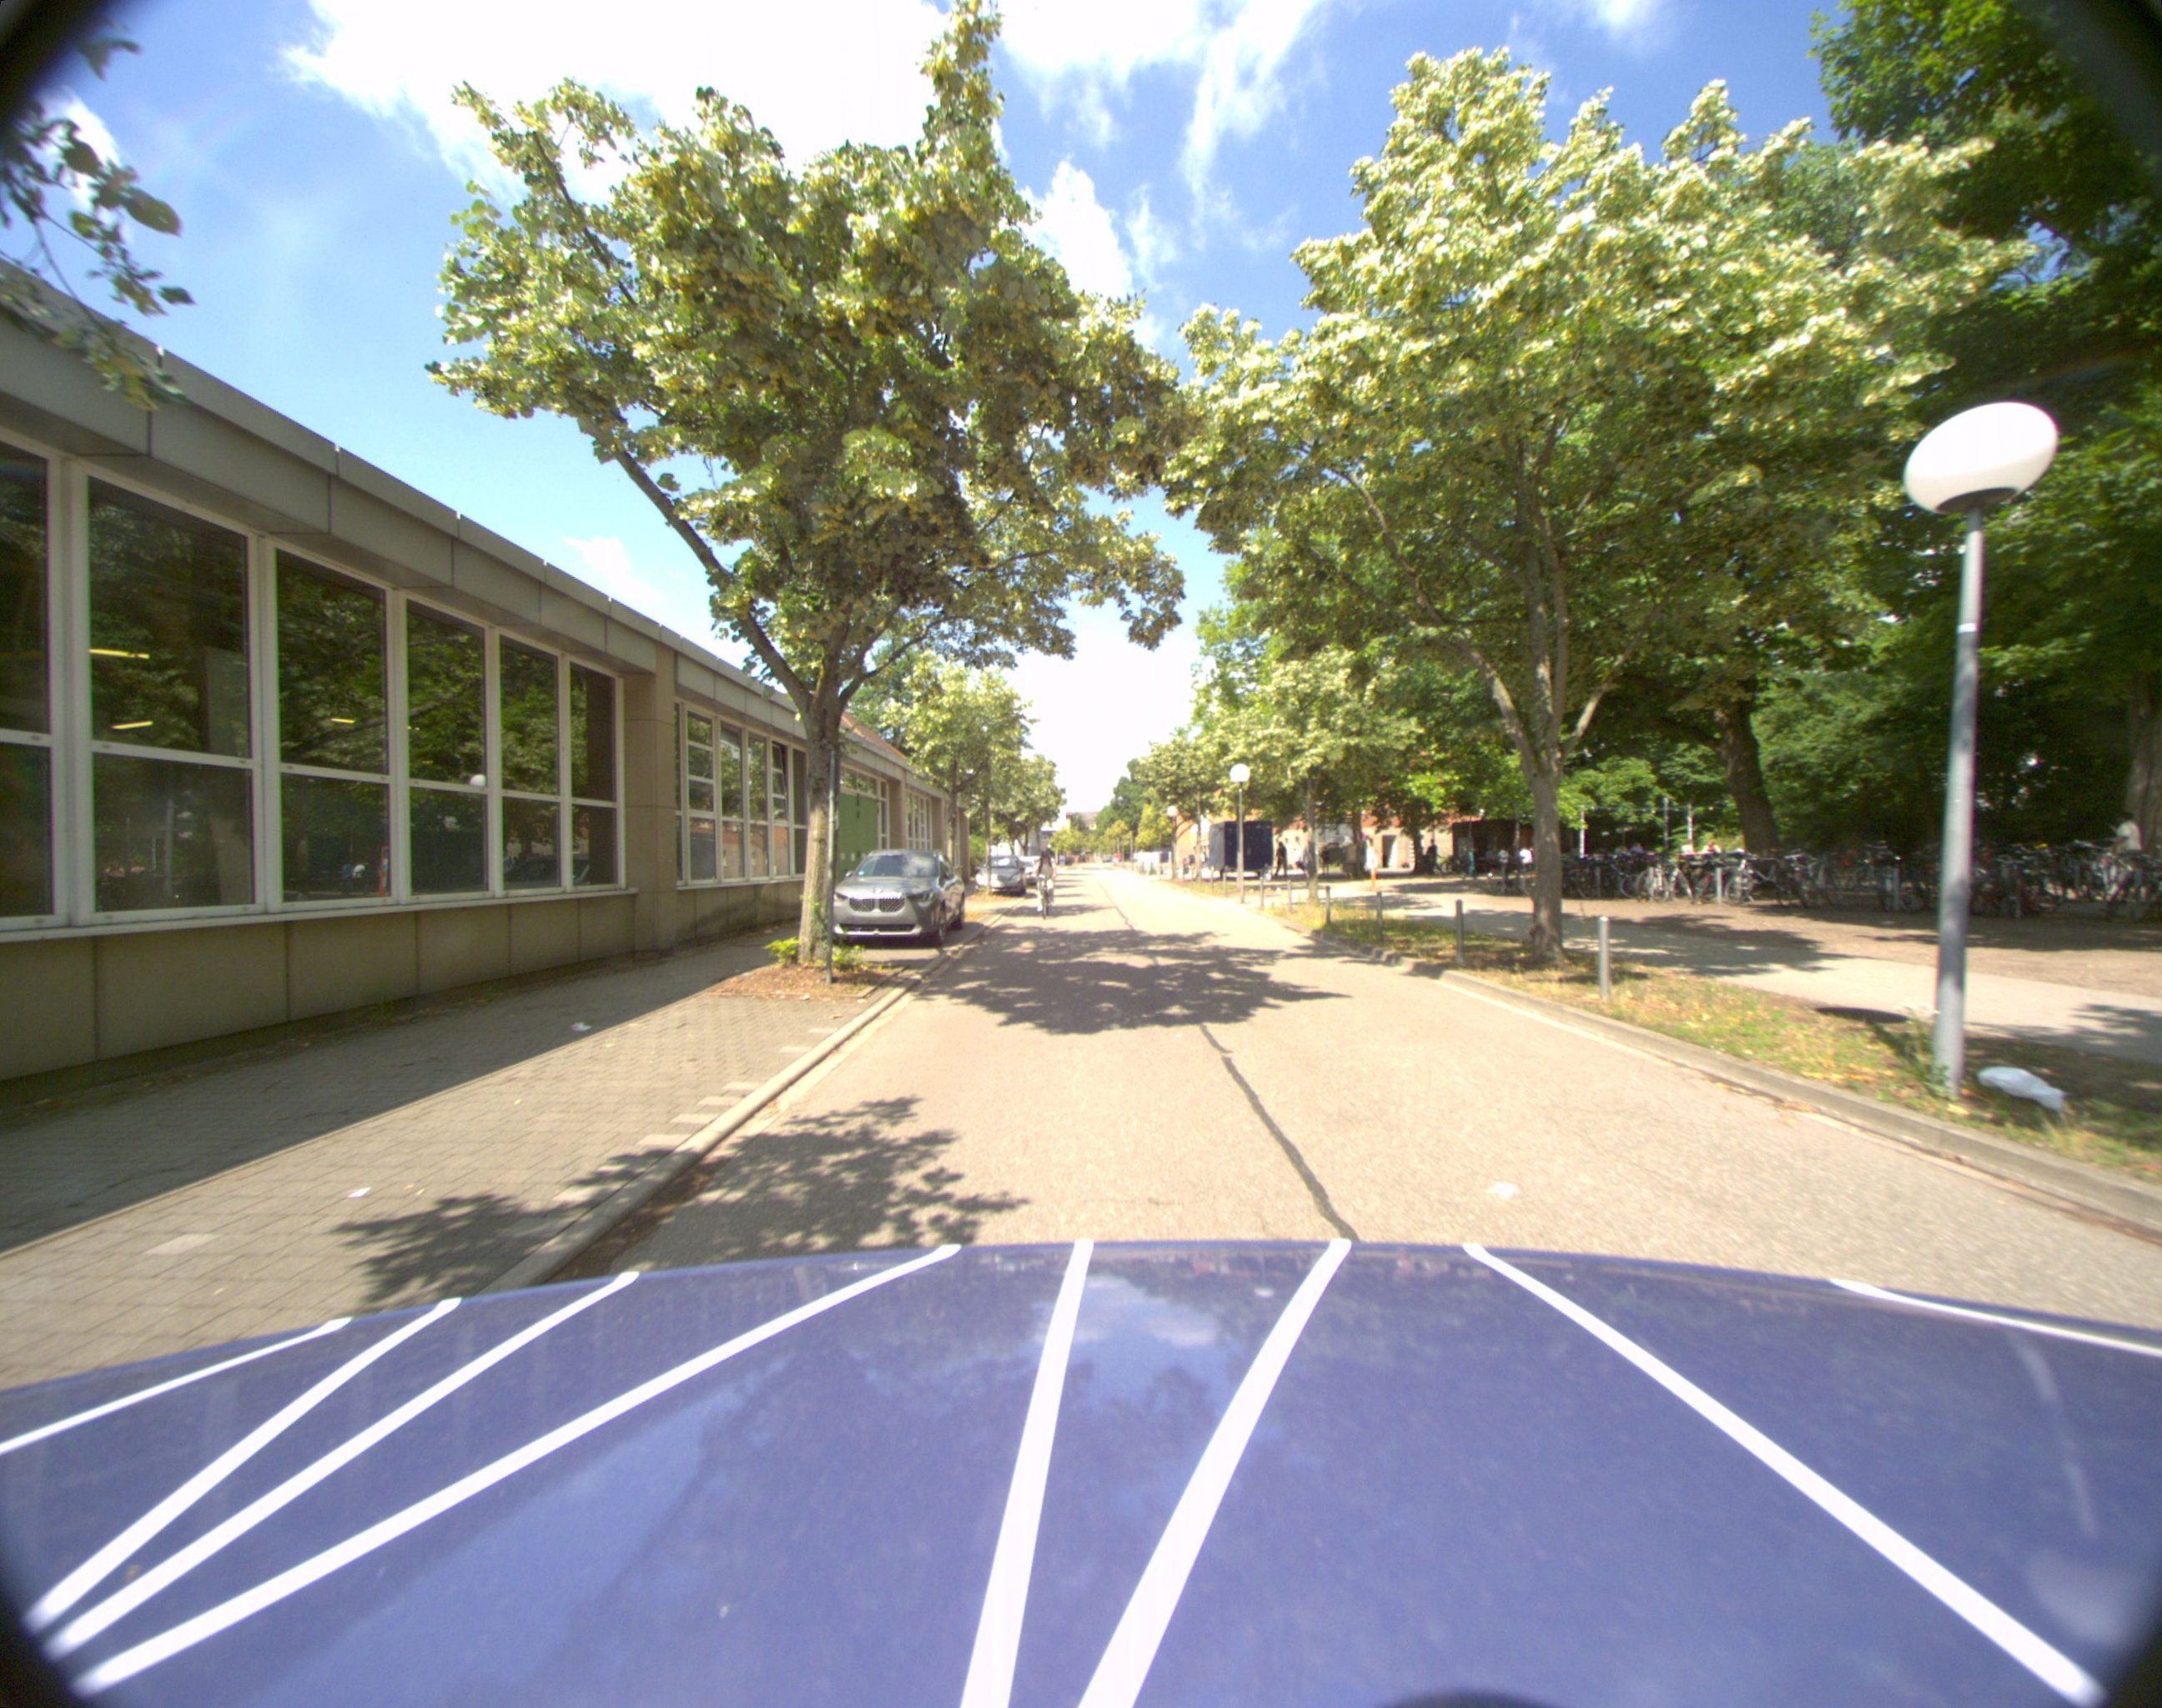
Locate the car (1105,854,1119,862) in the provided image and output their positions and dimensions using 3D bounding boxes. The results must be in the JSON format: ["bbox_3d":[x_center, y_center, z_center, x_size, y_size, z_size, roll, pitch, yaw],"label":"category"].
[{"bbox_3d":[7.585,0.986,184.732,2.022,2.079,4.440,-1,0,21],"label":"car"}]

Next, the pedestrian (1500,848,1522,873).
[{"bbox_3d":[21.357,0.321,37.752,0.596,1.226,0.741,-2,-1,-34],"label":"pedestrian"}]

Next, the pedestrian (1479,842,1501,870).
[{"bbox_3d":[20.651,0.106,38.333,0.596,1.361,0.741,-2,-1,-34],"label":"pedestrian"}]

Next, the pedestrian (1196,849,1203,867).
[{"bbox_3d":[11.340,0.390,72.795,0.564,1.752,0.805,-1,1,0],"label":"pedestrian"}]

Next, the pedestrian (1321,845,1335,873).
[{"bbox_3d":[14.844,0.282,45.709,0.632,1.656,0.643,-2,1,1],"label":"pedestrian"}]

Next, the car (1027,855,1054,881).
[{"bbox_3d":[-2.693,0.886,49.706,1.651,1.383,3.985,-2,2,-4],"label":"car"}]

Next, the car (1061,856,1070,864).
[{"bbox_3d":[-2.634,0.956,129.299,1.552,1.377,3.453,-1,0,-1],"label":"car"}]

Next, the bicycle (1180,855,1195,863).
[{"bbox_3d":[14.554,0.668,103.568,1.955,1.024,0.542,-1,0,-1],"label":"bicycle"}]

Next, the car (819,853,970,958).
[{"bbox_3d":[-3.278,0.814,14.287,1.827,1.654,4.583,0,0,-1],"label":"car"}]

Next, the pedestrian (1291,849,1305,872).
[{"bbox_3d":[14.302,0.448,50.087,0.745,1.500,0.499,-2,1,1],"label":"pedestrian"}]

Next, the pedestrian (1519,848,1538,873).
[{"bbox_3d":[23.191,0.351,39.373,0.561,1.264,0.693,-2,0,1],"label":"pedestrian"}]

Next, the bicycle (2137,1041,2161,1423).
[{"bbox_3d":[3.568,1.124,1.364,0.687,1.123,1.888,0,0,-2],"label":"bicycle"}]

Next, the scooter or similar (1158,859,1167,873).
[{"bbox_3d":[6.553,0.960,61.205,0.564,1.142,1.351,-1,1,12],"label":"scooter or similar"}]

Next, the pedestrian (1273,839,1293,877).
[{"bbox_3d":[10.912,0.207,41.087,0.919,1.943,0.892,-3,1,10],"label":"pedestrian"}]

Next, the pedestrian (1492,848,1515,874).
[{"bbox_3d":[20.813,0.338,37.444,0.596,1.226,0.741,-2,-1,-34],"label":"pedestrian"}]

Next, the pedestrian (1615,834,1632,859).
[{"bbox_3d":[24.700,-0.348,34.590,0.336,1.133,0.506,-2,1,-11],"label":"pedestrian"}]

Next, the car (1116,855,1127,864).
[{"bbox_3d":[8.390,1.146,158.345,1.912,1.870,4.002,-1,0,7],"label":"car"}]

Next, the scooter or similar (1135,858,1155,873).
[{"bbox_3d":[5.255,0.933,62.407,1.571,1.218,0.525,-1,1,27],"label":"scooter or similar"}]

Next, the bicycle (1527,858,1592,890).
[{"bbox_3d":[16.133,0.678,25.634,1.807,1.008,0.537,-2,0,3],"label":"bicycle"}]

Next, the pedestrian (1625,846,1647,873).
[{"bbox_3d":[24.836,0.231,34.003,0.392,1.187,0.730,-2,0,-9],"label":"pedestrian"}]

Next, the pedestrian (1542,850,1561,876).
[{"bbox_3d":[24.376,0.472,39.347,0.646,1.315,0.559,-1,1,2],"label":"pedestrian"}]

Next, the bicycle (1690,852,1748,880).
[{"bbox_3d":[22.641,0.412,26.962,1.885,0.937,0.546,-2,2,-13],"label":"bicycle"}]

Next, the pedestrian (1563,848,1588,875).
[{"bbox_3d":[23.594,0.348,36.258,0.570,1.243,0.766,-2,0,-11],"label":"pedestrian"}]

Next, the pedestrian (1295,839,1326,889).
[{"bbox_3d":[8.589,0.377,28.478,0.801,1.820,0.986,-2,0,1],"label":"pedestrian"}]

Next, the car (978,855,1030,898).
[{"bbox_3d":[-2.971,0.825,29.944,1.708,1.565,4.139,0,0,-1],"label":"car"}]

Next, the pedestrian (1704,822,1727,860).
[{"bbox_3d":[25.787,-0.540,30.884,0.507,1.513,0.473,-2,1,-11],"label":"pedestrian"}]

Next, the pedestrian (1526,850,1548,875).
[{"bbox_3d":[24.209,0.437,40.348,0.689,1.315,0.778,-1,0,2],"label":"pedestrian"}]

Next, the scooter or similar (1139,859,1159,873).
[{"bbox_3d":[5.722,1.013,63.746,1.571,1.218,0.571,-1,1,27],"label":"scooter or similar"}]

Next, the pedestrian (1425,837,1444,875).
[{"bbox_3d":[17.334,0.077,37.285,0.531,1.837,0.806,-2,1,1],"label":"pedestrian"}]

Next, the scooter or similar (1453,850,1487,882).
[{"bbox_3d":[15.483,0.476,30.260,0.700,1.239,1.241,-2,0,0],"label":"scooter or similar"}]

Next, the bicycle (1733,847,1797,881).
[{"bbox_3d":[23.160,0.319,25.737,1.959,1.085,0.596,-2,2,-13],"label":"bicycle"}]

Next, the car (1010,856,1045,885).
[{"bbox_3d":[-2.850,0.835,41.273,1.730,1.458,4.671,0,0,-2],"label":"car"}]

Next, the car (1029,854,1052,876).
[{"bbox_3d":[-2.950,0.770,56.111,1.591,1.458,3.986,-1,2,-2],"label":"car"}]

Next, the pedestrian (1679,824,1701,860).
[{"bbox_3d":[24.625,-0.480,30.730,0.507,1.414,0.460,-2,1,-10],"label":"pedestrian"}]

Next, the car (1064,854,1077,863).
[{"bbox_3d":[-1.906,0.797,137.593,1.939,1.671,3.470,0,0,5],"label":"car"}]

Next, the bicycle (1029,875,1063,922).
[{"bbox_3d":[-0.863,1.090,19.183,0.675,1.066,2.136,-1,0,2],"label":"bicycle"}]

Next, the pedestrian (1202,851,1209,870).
[{"bbox_3d":[11.940,0.641,72.888,0.577,1.769,0.917,-1,1,0],"label":"pedestrian"}]

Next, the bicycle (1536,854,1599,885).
[{"bbox_3d":[16.767,0.532,26.201,1.807,1.008,0.537,-2,0,3],"label":"bicycle"}]

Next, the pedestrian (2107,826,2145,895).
[{"bbox_3d":[24.613,0.155,17.899,0.350,1.605,0.462,-1,1,29],"label":"pedestrian"}]
